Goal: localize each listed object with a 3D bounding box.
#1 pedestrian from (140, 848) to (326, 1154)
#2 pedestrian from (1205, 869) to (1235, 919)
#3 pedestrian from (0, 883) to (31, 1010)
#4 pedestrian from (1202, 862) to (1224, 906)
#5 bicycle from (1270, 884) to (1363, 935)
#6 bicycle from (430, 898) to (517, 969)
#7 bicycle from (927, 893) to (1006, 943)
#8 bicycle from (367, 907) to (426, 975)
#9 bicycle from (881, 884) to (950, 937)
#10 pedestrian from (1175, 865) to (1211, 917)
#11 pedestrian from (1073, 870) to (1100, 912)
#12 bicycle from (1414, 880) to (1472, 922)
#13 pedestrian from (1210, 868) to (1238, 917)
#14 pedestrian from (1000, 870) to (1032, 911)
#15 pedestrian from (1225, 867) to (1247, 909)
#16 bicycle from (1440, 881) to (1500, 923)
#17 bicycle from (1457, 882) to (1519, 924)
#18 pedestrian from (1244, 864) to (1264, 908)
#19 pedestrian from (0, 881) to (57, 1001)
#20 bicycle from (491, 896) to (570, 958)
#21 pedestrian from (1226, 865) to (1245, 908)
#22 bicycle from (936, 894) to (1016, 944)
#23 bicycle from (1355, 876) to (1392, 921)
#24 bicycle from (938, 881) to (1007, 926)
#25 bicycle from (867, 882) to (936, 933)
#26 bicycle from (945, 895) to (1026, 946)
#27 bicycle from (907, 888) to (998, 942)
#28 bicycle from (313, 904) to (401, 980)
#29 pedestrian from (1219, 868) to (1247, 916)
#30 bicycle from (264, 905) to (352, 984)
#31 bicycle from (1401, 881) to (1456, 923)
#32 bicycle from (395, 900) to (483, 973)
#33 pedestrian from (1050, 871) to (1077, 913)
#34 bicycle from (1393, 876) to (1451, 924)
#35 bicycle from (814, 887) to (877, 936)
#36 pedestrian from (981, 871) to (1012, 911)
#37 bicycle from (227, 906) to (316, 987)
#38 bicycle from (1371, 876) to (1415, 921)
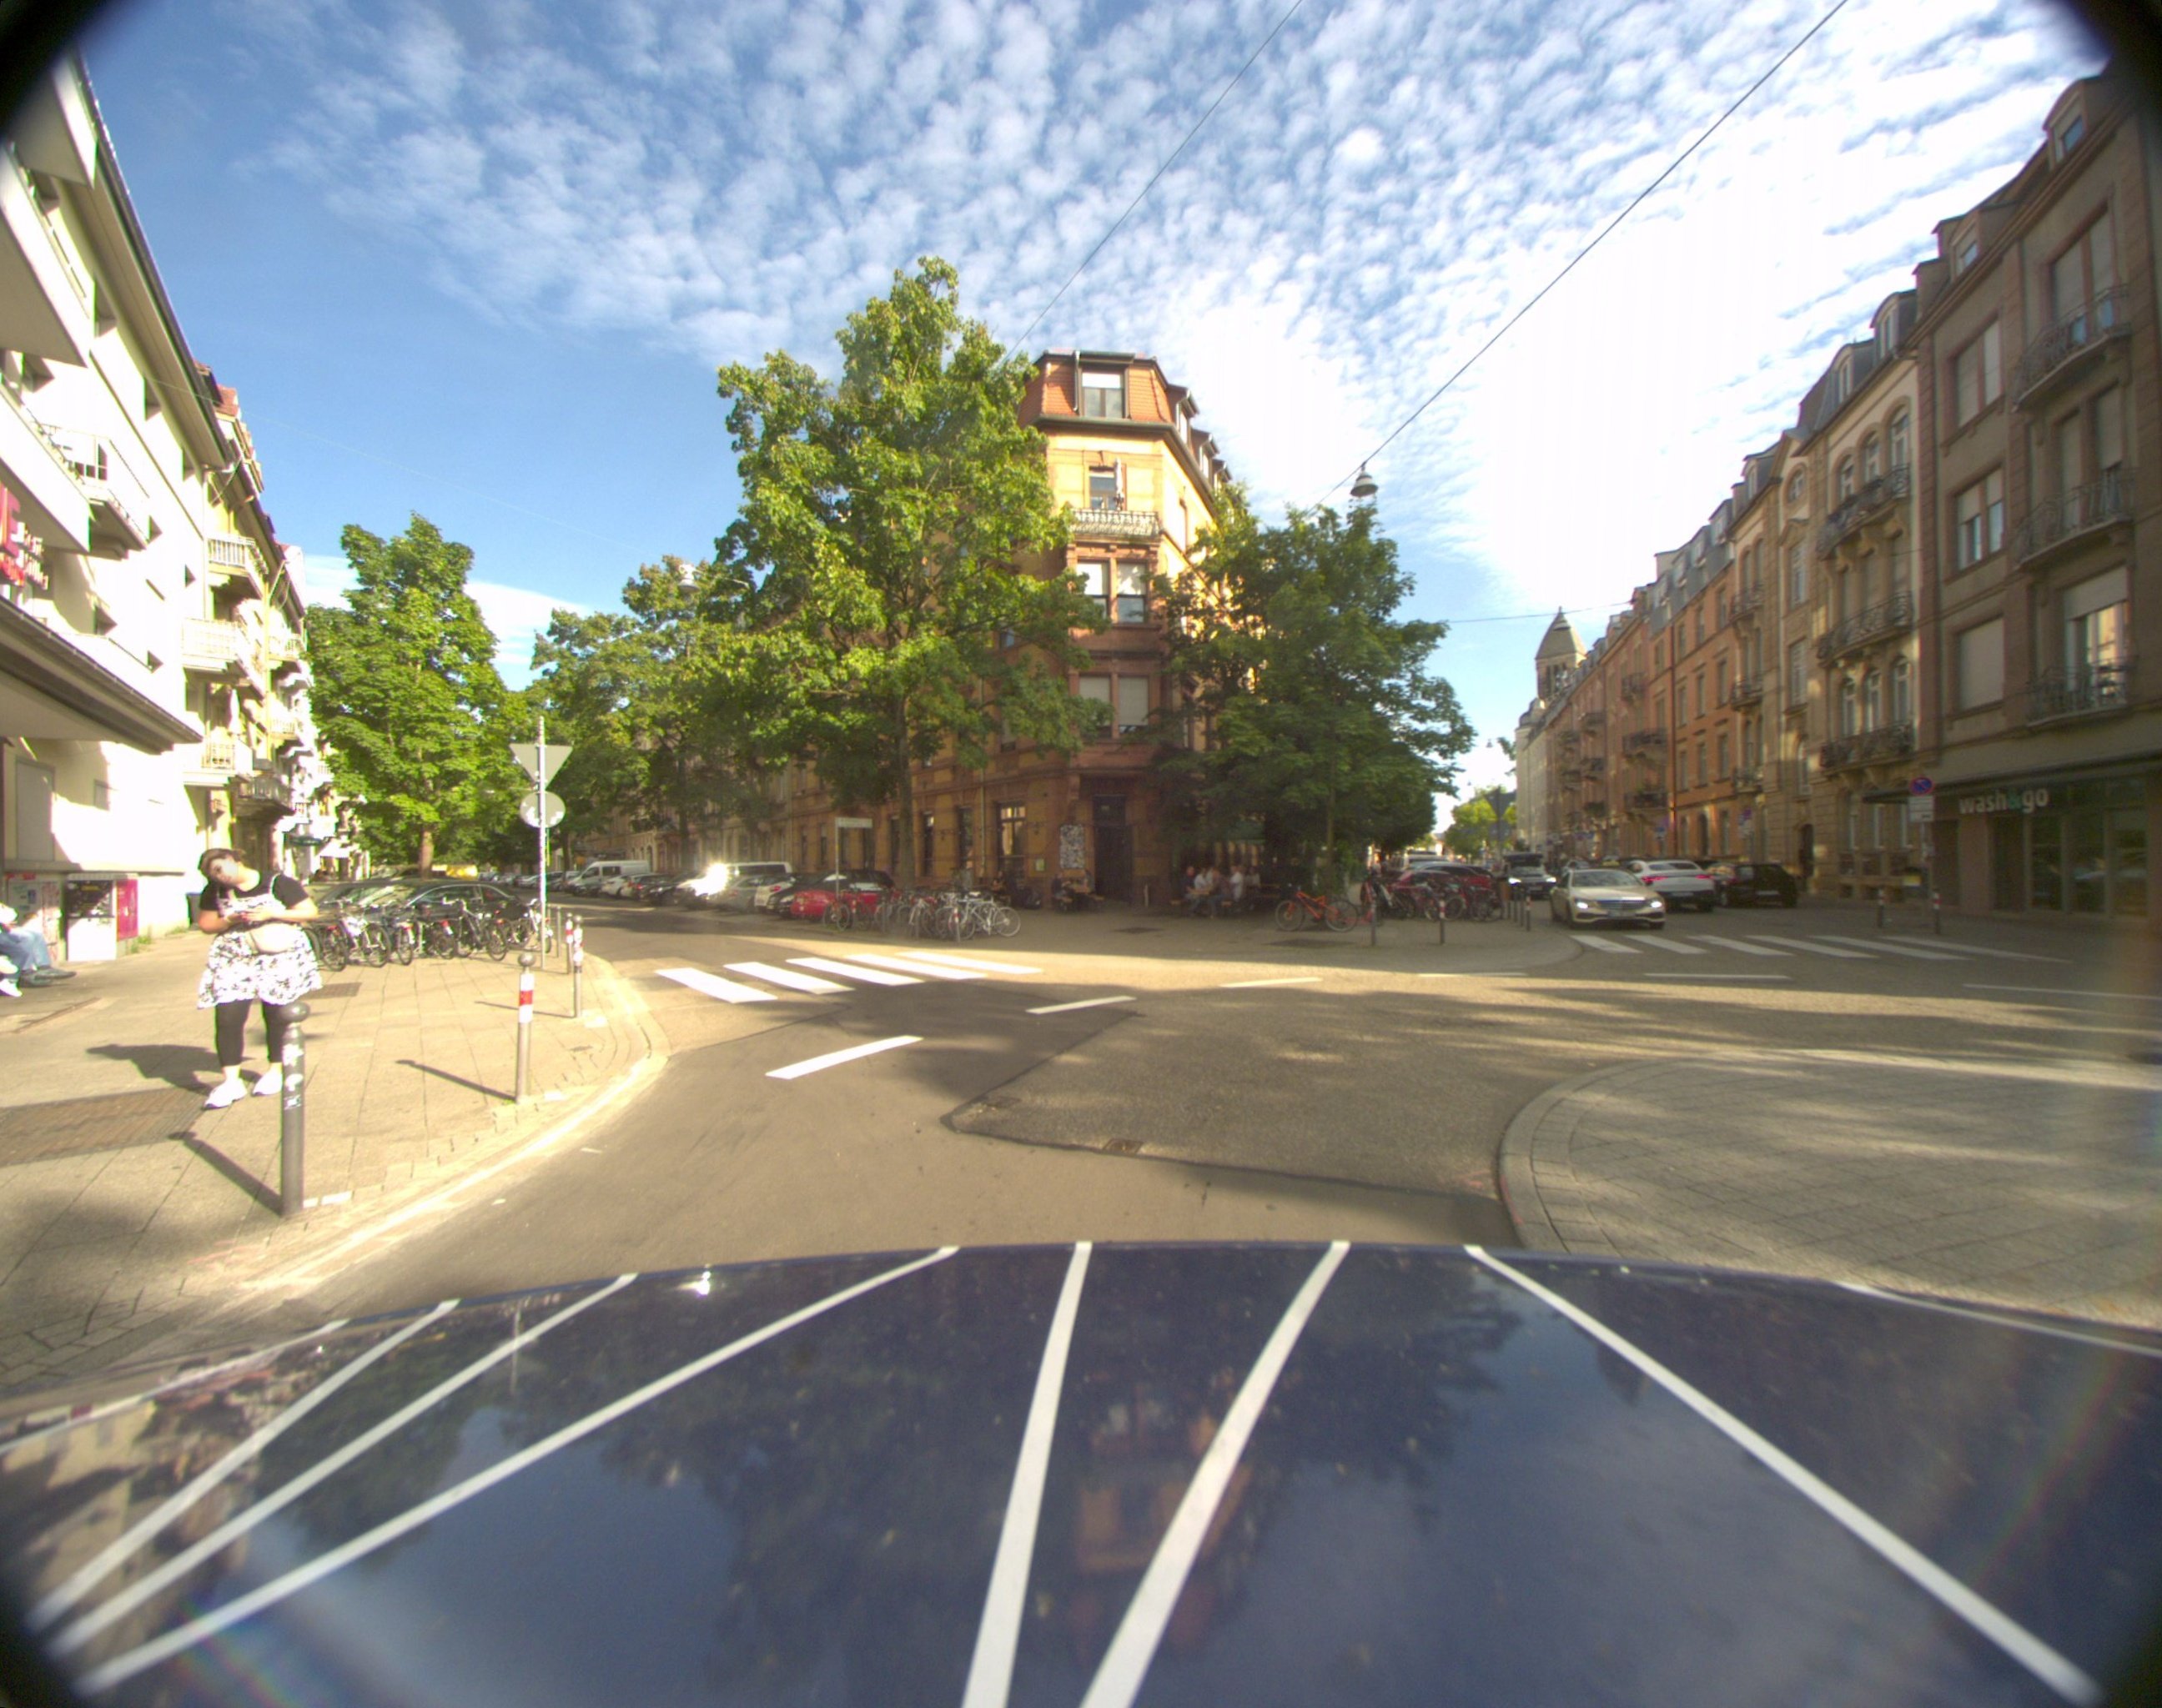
[{"bbox_3d":[-5.341,0.843,4.844,0.615,1.743,0.840,-1,0,-36],"label":"pedestrian"},{"bbox_3d":[3.709,1.048,20.251,0.728,1.307,0.521,-1,-1,12],"label":"pedestrian"},{"bbox_3d":[-13.270,1.113,9.124,0.751,1.497,0.669,-1,0,44],"label":"pedestrian"},{"bbox_3d":[3.994,0.913,23.034,0.548,1.293,0.621,-1,1,0],"label":"pedestrian"},{"bbox_3d":[5.098,1.179,16.464,1.852,1.029,0.685,0,0,24],"label":"bicycle"},{"bbox_3d":[-10.756,1.383,13.433,1.849,1.169,0.414,-1,-1,25],"label":"bicycle"},{"bbox_3d":[-2.629,1.447,17.443,1.715,0.981,0.447,-2,2,-28],"label":"bicycle"},{"bbox_3d":[-11.357,1.420,12.594,1.498,1.012,0.414,-1,-1,36],"label":"bicycle"},{"bbox_3d":[-4.161,1.400,19.204,0.447,1.195,1.716,0,2,41],"label":"bicycle"},{"bbox_3d":[3.075,1.000,20.842,0.671,1.371,0.715,-1,1,-31],"label":"pedestrian"},{"bbox_3d":[0.171,1.154,23.979,0.642,1.252,0.510,-3,3,-33],"label":"pedestrian"},{"bbox_3d":[9.675,1.240,20.387,0.472,0.979,1.864,1,1,-7],"label":"bicycle"},{"bbox_3d":[3.909,1.053,20.737,0.728,1.307,0.521,-1,-1,12],"label":"pedestrian"},{"bbox_3d":[-2.111,1.177,24.747,0.770,1.277,0.627,-4,1,-42],"label":"pedestrian"},{"bbox_3d":[4.648,1.023,22.810,0.548,1.225,0.621,-1,1,0],"label":"pedestrian"},{"bbox_3d":[10.371,1.265,20.332,0.472,0.979,1.864,1,1,-7],"label":"bicycle"},{"bbox_3d":[10.829,1.287,20.286,0.472,0.979,1.864,1,1,-7],"label":"bicycle"},{"bbox_3d":[5.283,0.970,23.181,0.466,1.319,0.621,-1,1,1],"label":"pedestrian"},{"bbox_3d":[-13.846,1.103,9.733,0.755,1.497,0.666,-1,0,-44],"label":"pedestrian"},{"bbox_3d":[-10.934,1.426,15.072,1.849,1.169,0.414,-1,-1,25],"label":"bicycle"},{"bbox_3d":[4.832,0.997,23.733,0.466,1.319,0.621,-1,1,1],"label":"pedestrian"},{"bbox_3d":[-2.352,1.447,17.101,1.715,0.981,0.447,-2,2,-28],"label":"bicycle"},{"bbox_3d":[7.788,1.154,20.270,0.433,1.094,1.675,1,1,5],"label":"bicycle"},{"bbox_3d":[-3.017,1.354,21.201,1.803,1.107,0.598,-2,2,-37],"label":"bicycle"},{"bbox_3d":[-4.728,1.385,20.061,1.715,1.195,0.447,-2,2,-37],"label":"bicycle"},{"bbox_3d":[-2.090,1.452,16.728,1.715,0.964,0.447,-2,2,-28],"label":"bicycle"},{"bbox_3d":[-2.985,1.396,17.762,2.048,1.082,0.447,-2,2,-28],"label":"bicycle"},{"bbox_3d":[-11.520,1.374,12.080,1.694,1.079,0.422,0,0,26],"label":"bicycle"},{"bbox_3d":[4.269,1.058,21.317,0.728,1.307,0.608,-1,-1,12],"label":"pedestrian"},{"bbox_3d":[-11.911,1.361,11.694,1.694,1.079,0.422,0,0,26],"label":"bicycle"},{"bbox_3d":[9.173,1.250,20.131,0.418,0.979,1.837,1,1,-7],"label":"bicycle"},{"bbox_3d":[-11.116,1.393,13.145,1.849,1.169,0.414,-1,-1,25],"label":"bicycle"},{"bbox_3d":[-0.533,1.174,23.613,0.642,1.218,0.510,-3,3,-33],"label":"pedestrian"},{"bbox_3d":[8.859,1.169,19.795,0.475,1.136,1.837,1,1,-7],"label":"bicycle"},{"bbox_3d":[-6.185,1.477,19.830,0.583,1.090,2.493,-5,3,-40],"label":"bicycle"},{"bbox_3d":[-2.812,1.213,25.318,0.770,1.277,0.627,-4,1,-42],"label":"pedestrian"},{"bbox_3d":[-12.234,1.366,11.474,1.694,1.079,0.422,0,0,26],"label":"bicycle"},{"bbox_3d":[8.310,1.160,20.292,0.475,1.094,1.675,1,1,0],"label":"bicycle"}]
